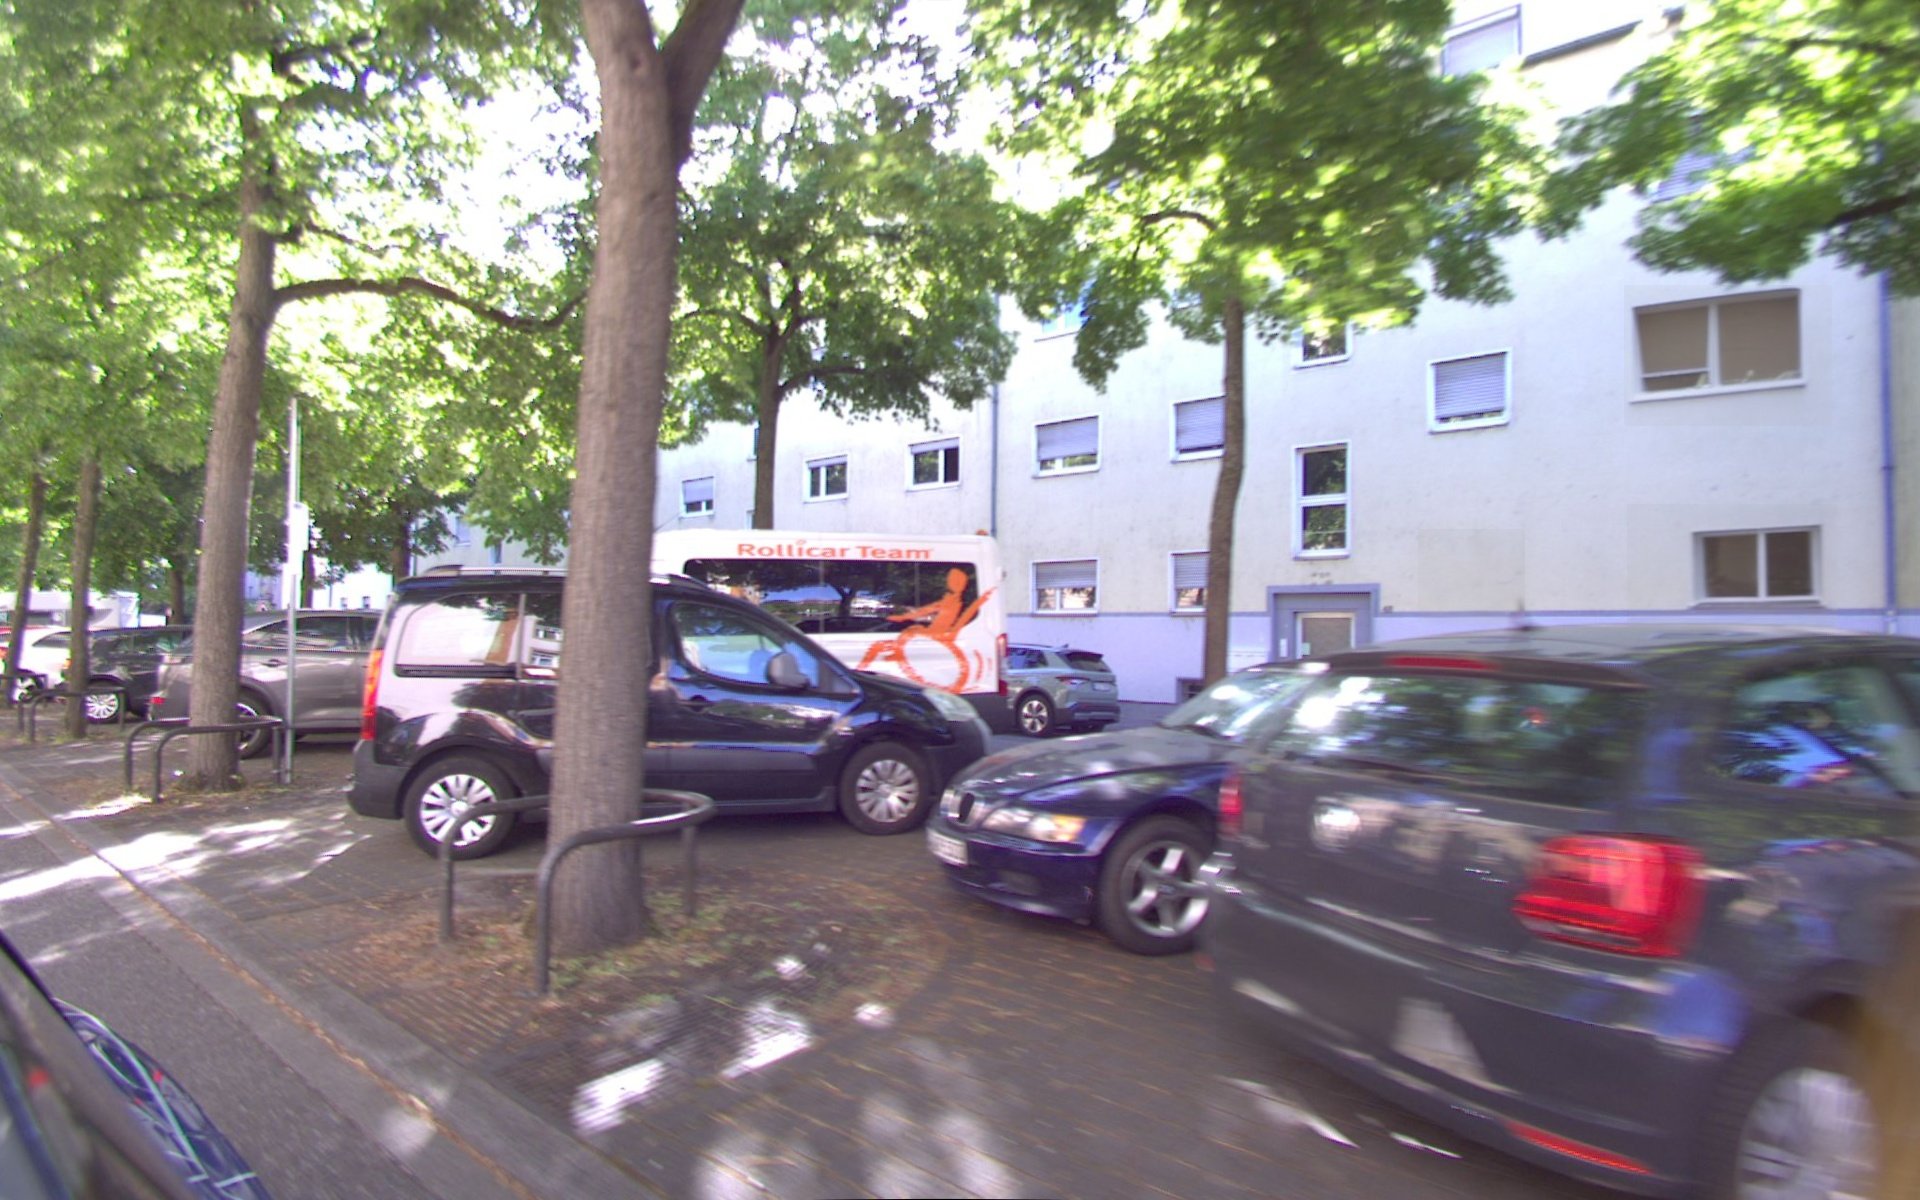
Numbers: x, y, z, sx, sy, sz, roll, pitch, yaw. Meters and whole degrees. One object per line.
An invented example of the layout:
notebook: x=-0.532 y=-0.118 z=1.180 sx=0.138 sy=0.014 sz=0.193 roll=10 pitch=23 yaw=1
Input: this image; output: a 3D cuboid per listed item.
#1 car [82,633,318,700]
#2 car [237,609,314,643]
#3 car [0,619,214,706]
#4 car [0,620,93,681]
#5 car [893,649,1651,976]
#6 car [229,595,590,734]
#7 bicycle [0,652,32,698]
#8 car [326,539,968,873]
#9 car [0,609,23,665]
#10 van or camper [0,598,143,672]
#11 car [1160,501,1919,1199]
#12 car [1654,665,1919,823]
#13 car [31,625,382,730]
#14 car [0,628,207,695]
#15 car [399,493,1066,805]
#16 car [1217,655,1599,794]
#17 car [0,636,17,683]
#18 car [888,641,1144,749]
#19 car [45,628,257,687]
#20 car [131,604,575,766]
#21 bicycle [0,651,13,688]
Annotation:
car: x=-17.303 y=1.487 z=23.275 sx=3.932 sy=1.446 sz=1.802 roll=1 pitch=-2 yaw=-16
car: x=-31.787 y=1.227 z=46.962 sx=4.076 sy=1.447 sz=1.732 roll=-2 pitch=-5 yaw=38
car: x=-17.337 y=1.208 z=20.200 sx=3.630 sy=1.608 sz=1.778 roll=0 pitch=-2 yaw=-24
car: x=-27.475 y=1.418 z=28.669 sx=4.018 sy=1.665 sz=1.869 roll=0 pitch=-2 yaw=-22
car: x=1.574 y=0.915 z=5.348 sx=3.506 sy=1.257 sz=1.663 roll=2 pitch=-3 yaw=-20
car: x=-7.733 y=0.904 z=14.726 sx=4.317 sy=1.791 sz=1.905 roll=2 pitch=-2 yaw=-22
bicycle: x=-21.338 y=1.608 z=21.866 sx=1.786 sy=1.001 sz=0.427 roll=3 pitch=-5 yaw=-34
car: x=-2.020 y=0.663 z=7.176 sx=3.786 sy=1.903 sz=1.849 roll=1 pitch=-3 yaw=-15
car: x=-47.672 y=1.687 z=46.579 sx=6.220 sy=2.578 sz=2.345 roll=1 pitch=-2 yaw=-17
van or camper: x=-36.470 y=1.358 z=39.881 sx=6.197 sy=2.846 sz=2.415 roll=0 pitch=-2 yaw=-21
car: x=2.647 y=0.682 z=3.073 sx=3.673 sy=1.594 sz=1.641 roll=1 pitch=-2 yaw=-20
car: x=10.073 y=1.516 z=10.927 sx=4.140 sy=1.506 sz=1.756 roll=-1 pitch=-3 yaw=38
car: x=-11.528 y=1.151 z=15.825 sx=4.039 sy=1.492 sz=1.737 roll=1 pitch=-2 yaw=-18
car: x=-21.073 y=1.448 z=24.225 sx=4.550 sy=1.497 sz=1.766 roll=0 pitch=-1 yaw=-16
car: x=-2.169 y=0.547 z=10.578 sx=5.981 sy=2.643 sz=2.462 roll=2 pitch=-3 yaw=-16
car: x=6.129 y=1.592 z=14.197 sx=4.588 sy=1.528 sz=1.754 roll=-2 pitch=-1 yaw=40
car: x=-32.843 y=1.858 z=32.095 sx=3.952 sy=1.485 sz=1.630 roll=2 pitch=-3 yaw=-14
car: x=0.944 y=1.647 z=18.570 sx=4.553 sy=1.736 sz=1.724 roll=-2 pitch=-5 yaw=39
car: x=-21.572 y=1.522 z=27.190 sx=4.045 sy=1.484 sz=1.877 roll=1 pitch=-2 yaw=-21
car: x=-6.826 y=0.901 z=11.895 sx=4.203 sy=1.654 sz=1.660 roll=0 pitch=-1 yaw=-17
bicycle: x=-24.793 y=1.749 z=25.098 sx=1.871 sy=0.926 sz=0.380 roll=0 pitch=-2 yaw=-30
